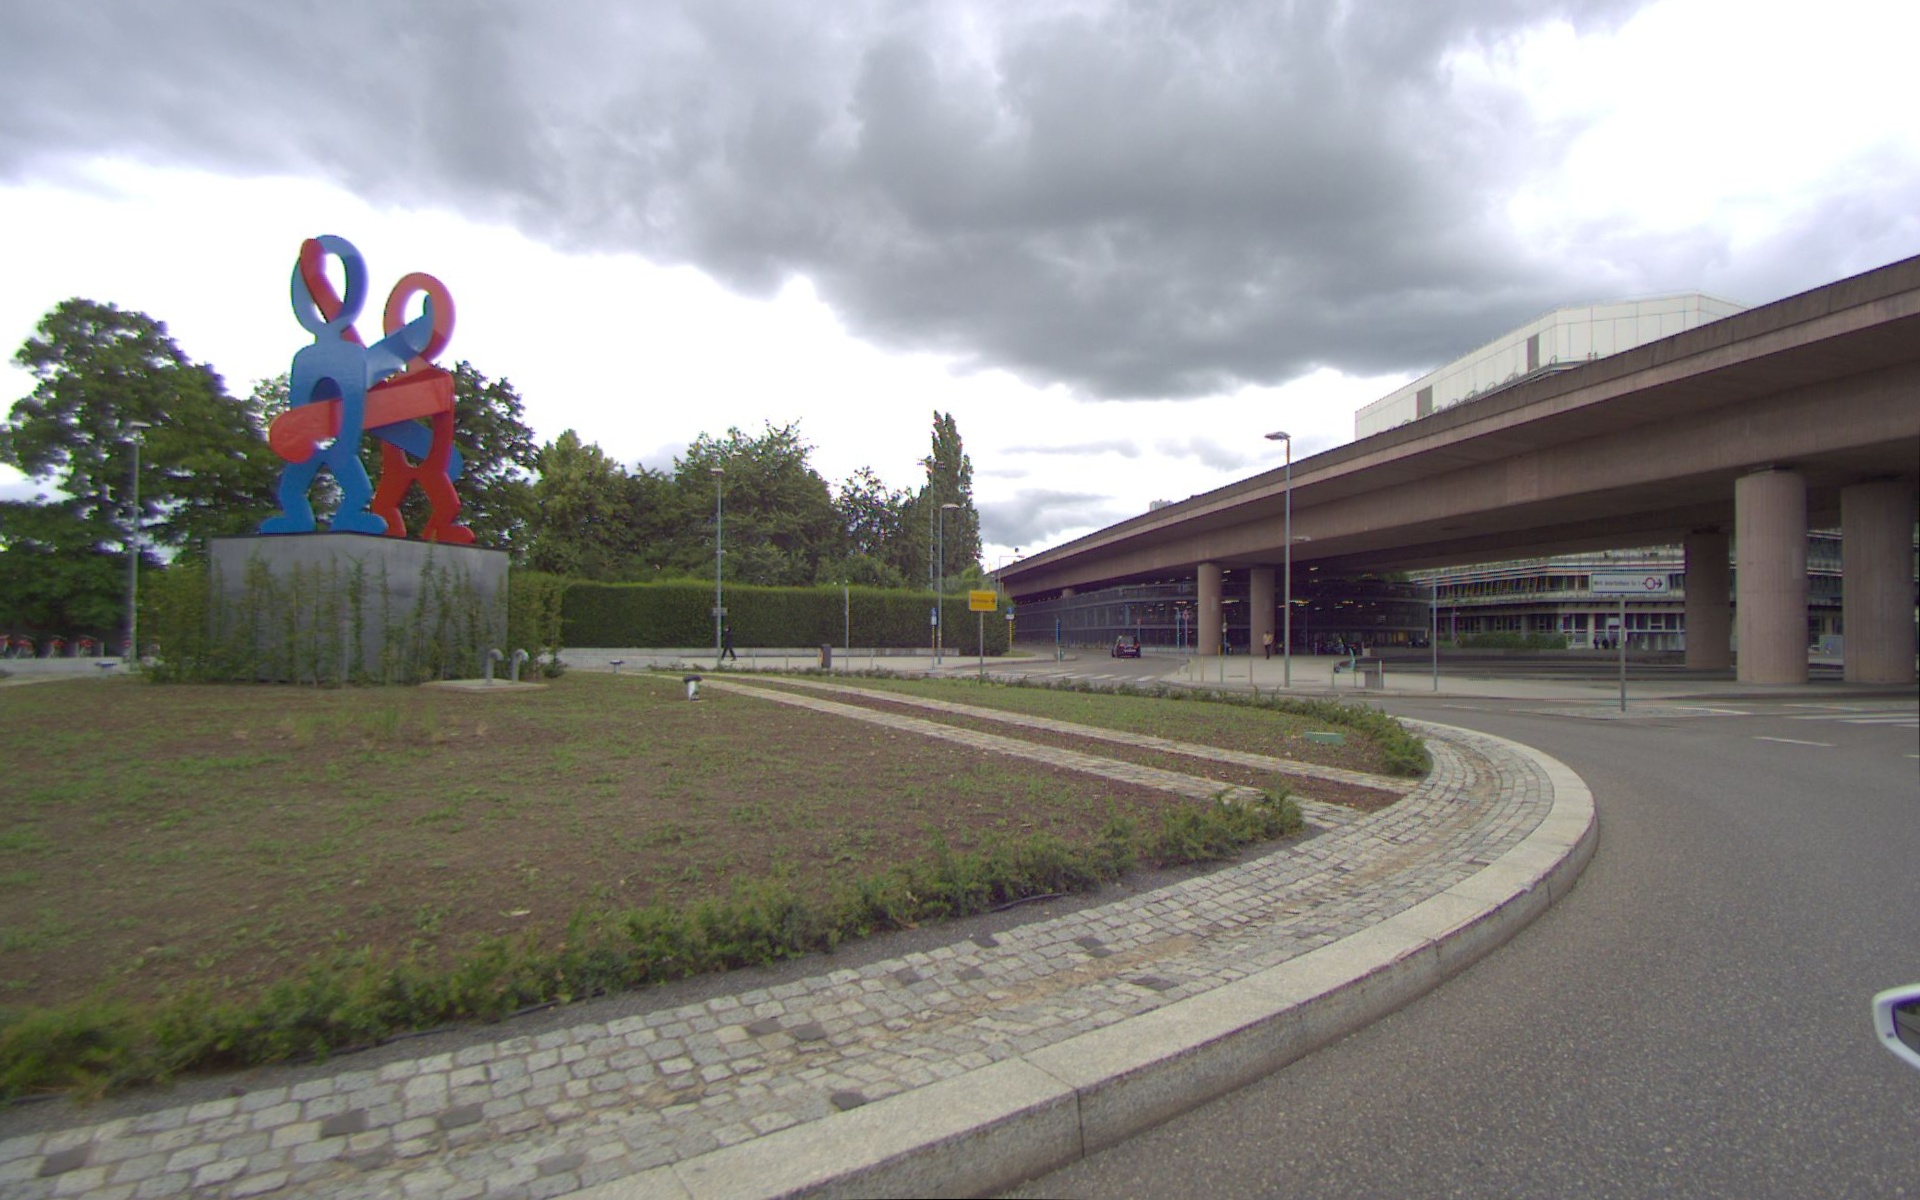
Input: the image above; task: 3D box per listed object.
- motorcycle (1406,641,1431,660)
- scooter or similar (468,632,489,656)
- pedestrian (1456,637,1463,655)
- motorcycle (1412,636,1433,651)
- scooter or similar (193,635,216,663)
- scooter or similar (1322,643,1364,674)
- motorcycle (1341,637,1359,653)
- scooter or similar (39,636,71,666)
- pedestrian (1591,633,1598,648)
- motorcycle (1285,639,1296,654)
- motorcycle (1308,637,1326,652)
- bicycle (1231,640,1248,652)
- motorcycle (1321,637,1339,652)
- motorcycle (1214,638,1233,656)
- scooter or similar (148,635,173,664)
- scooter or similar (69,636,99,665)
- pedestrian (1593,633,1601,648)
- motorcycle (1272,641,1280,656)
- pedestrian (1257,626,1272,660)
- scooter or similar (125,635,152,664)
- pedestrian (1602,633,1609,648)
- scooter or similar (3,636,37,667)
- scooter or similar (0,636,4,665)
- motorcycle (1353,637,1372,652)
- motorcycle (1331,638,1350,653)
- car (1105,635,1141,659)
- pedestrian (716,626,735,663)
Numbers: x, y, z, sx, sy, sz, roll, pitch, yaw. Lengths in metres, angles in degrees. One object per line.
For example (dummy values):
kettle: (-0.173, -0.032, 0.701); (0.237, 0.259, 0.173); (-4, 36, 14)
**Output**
motorcycle: (32.188, 3.548, 70.457); (1.917, 1.281, 0.544); (0, -1, -29)
scooter or similar: (-23.145, 2.104, 48.282); (0.633, 1.124, 1.957); (0, -1, -33)
pedestrian: (59.909, 5.520, 120.464); (0.518, 2.040, 0.574); (1, -2, 0)
motorcycle: (41.820, 3.906, 90.829); (0.661, 1.236, 2.361); (0, -1, -6)
scooter or similar: (-31.848, 2.038, 42.343); (0.633, 1.124, 1.957); (0, -1, -33)
scooter or similar: (16.673, 2.523, 43.734); (1.616, 1.313, 0.519); (0, 0, 8)
motorcycle: (34.175, 3.910, 88.048); (0.661, 1.303, 2.077); (0, -1, -6)
scooter or similar: (-35.831, 1.994, 39.767); (0.633, 1.124, 1.957); (0, -1, -33)
pedestrian: (64.734, 4.088, 102.445); (0.540, 1.501, 0.491); (0, -1, -38)
motorcycle: (28.719, 4.035, 87.333); (0.816, 1.236, 2.080); (0, -1, 15)
motorcycle: (31.202, 3.917, 87.772); (0.661, 1.236, 2.077); (0, -1, -6)
bicycle: (25.178, 4.132, 90.530); (1.448, 0.989, 0.452); (0, -1, 19)
motorcycle: (32.340, 3.913, 87.784); (0.661, 1.236, 2.077); (0, -1, -6)
motorcycle: (22.294, 3.986, 85.050); (0.634, 1.474, 1.753); (0, -1, -22)
scooter or similar: (-33.048, 2.021, 41.540); (0.633, 1.124, 1.957); (0, -1, -33)
scooter or similar: (-35.090, 2.005, 40.243); (0.633, 1.124, 1.957); (0, -1, -33)
pedestrian: (63.969, 4.082, 100.859); (0.540, 1.501, 0.491); (0, -1, -38)
motorcycle: (27.367, 4.162, 86.905); (0.512, 1.236, 1.149); (0, -1, 23)
pedestrian: (18.880, 2.646, 62.288); (0.769, 2.040, 1.040); (0, -1, 11)
scooter or similar: (-33.627, 2.016, 41.123); (0.633, 1.124, 1.957); (0, -1, -33)
pedestrian: (64.480, 4.074, 100.350); (0.540, 1.501, 0.491); (0, -1, -38)
scooter or similar: (-36.731, 1.991, 39.263); (0.633, 1.124, 1.957); (0, -1, -33)
scooter or similar: (-37.526, 1.982, 38.718); (0.633, 1.124, 1.957); (0, -1, -33)
motorcycle: (35.394, 3.927, 88.381); (0.661, 1.236, 2.077); (0, -1, -6)
motorcycle: (33.266, 3.940, 87.898); (0.661, 1.236, 2.077); (0, -1, -6)
car: (12.713, 3.684, 78.556); (1.811, 1.734, 3.702); (0, -1, -6)
pedestrian: (-12.006, 2.265, 51.493); (0.853, 1.832, 0.789); (0, -1, -20)
